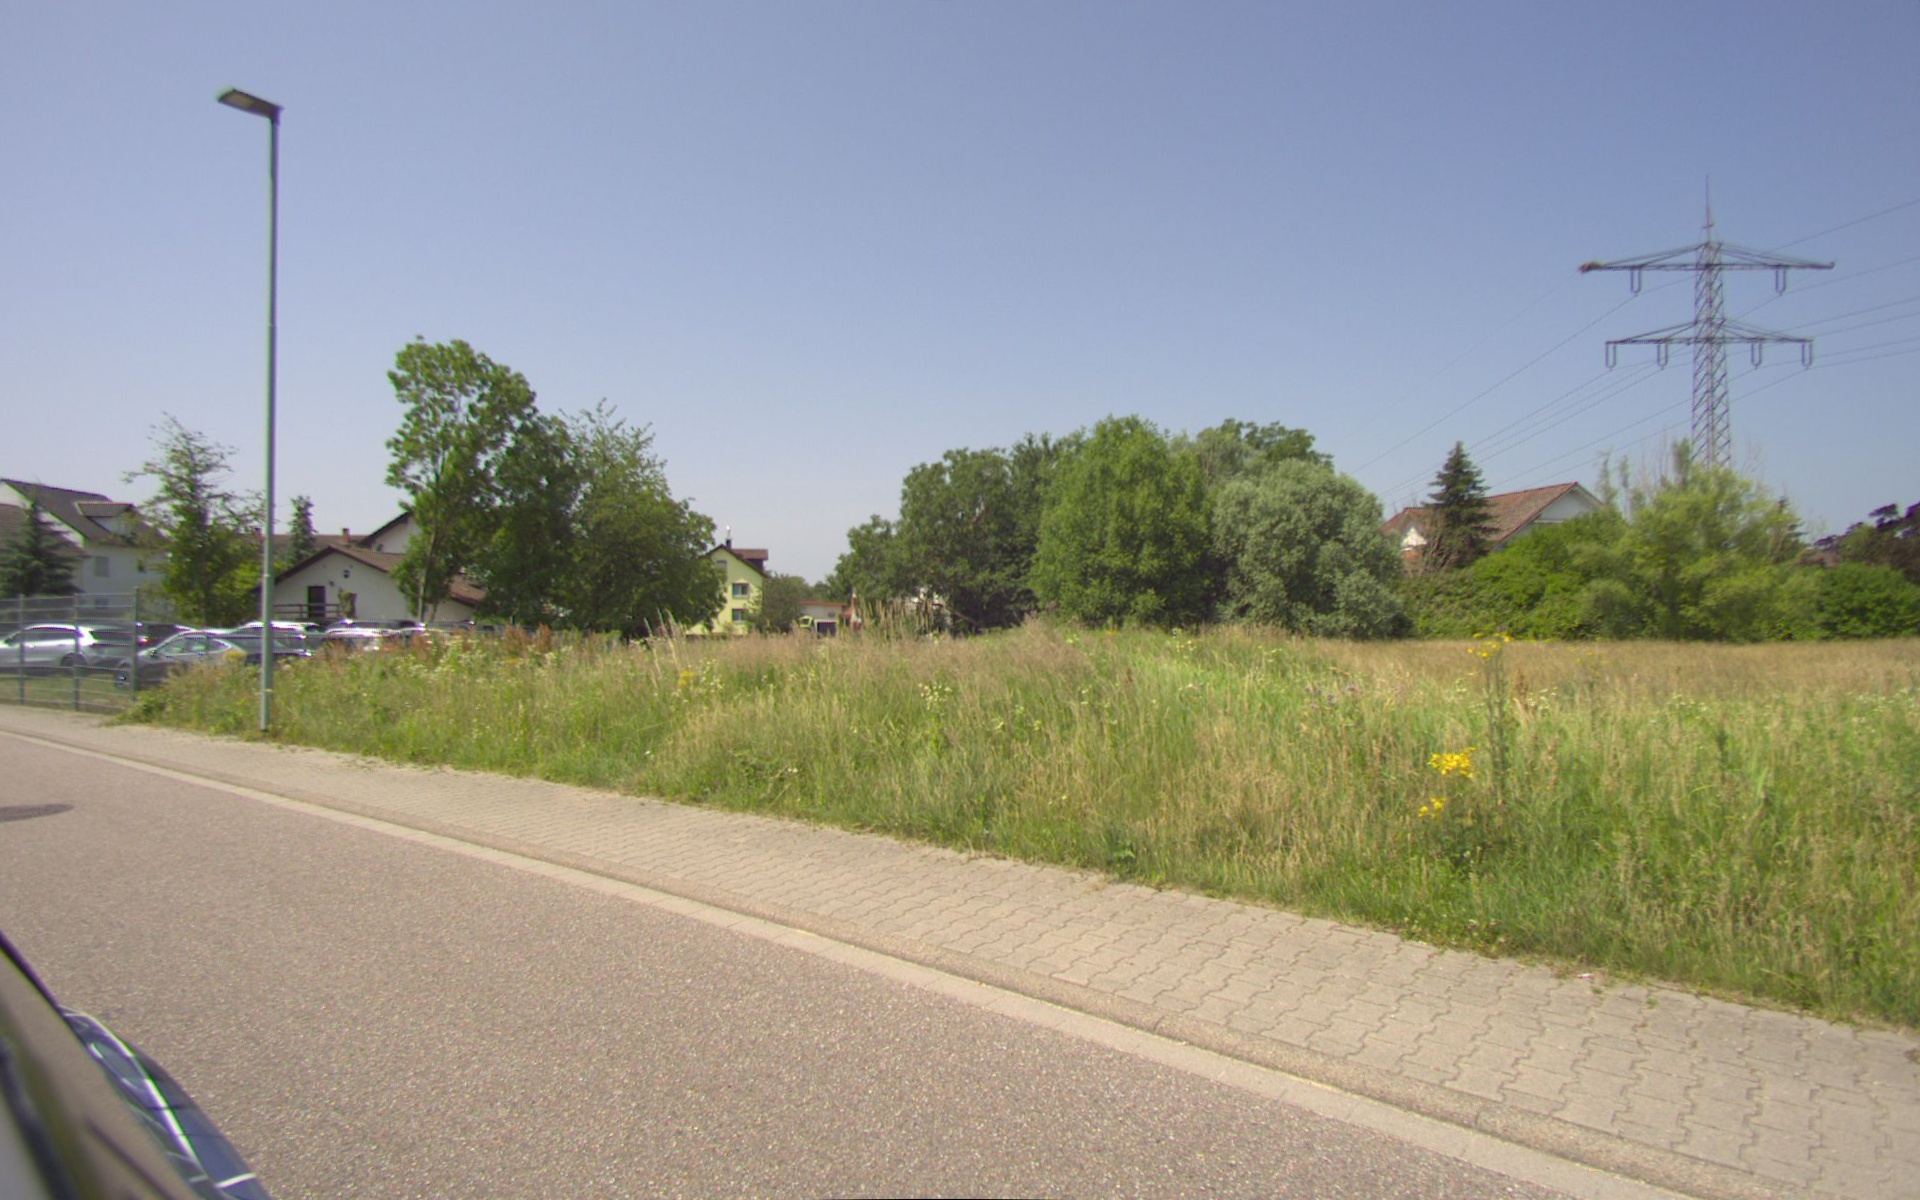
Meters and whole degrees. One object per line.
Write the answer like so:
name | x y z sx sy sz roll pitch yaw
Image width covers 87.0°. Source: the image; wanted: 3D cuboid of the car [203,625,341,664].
car | -22.852 1.457 33.699 3.360 1.208 1.821 0 -1 -1

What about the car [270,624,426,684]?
car | -17.103 1.493 28.371 3.412 1.596 1.582 0 -2 -1

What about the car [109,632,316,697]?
car | -16.794 1.411 22.736 4.369 1.344 1.572 -1 -2 19

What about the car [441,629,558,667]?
car | -18.846 1.940 41.544 3.942 1.510 2.001 0 -2 -2

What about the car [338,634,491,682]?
car | -17.800 1.866 33.176 3.942 1.510 2.001 0 -2 -2

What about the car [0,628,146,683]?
car | -25.444 1.546 28.584 3.594 1.501 1.582 0 -2 -1

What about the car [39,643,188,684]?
car | -28.041 2.089 33.595 3.594 1.256 1.582 0 -2 -1

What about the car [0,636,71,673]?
car | -36.325 2.074 38.518 3.360 1.326 1.821 0 -1 -1

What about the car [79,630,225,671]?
car | -30.722 1.915 38.592 3.942 1.510 2.001 0 -2 -2

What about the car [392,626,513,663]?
car | -19.117 1.669 38.219 3.692 1.326 1.821 0 -1 -1

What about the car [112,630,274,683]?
car | -21.742 1.597 28.779 3.412 1.430 1.582 0 -2 -1

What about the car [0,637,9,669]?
car | -46.637 2.466 46.543 3.940 1.510 1.863 0 -2 -4
